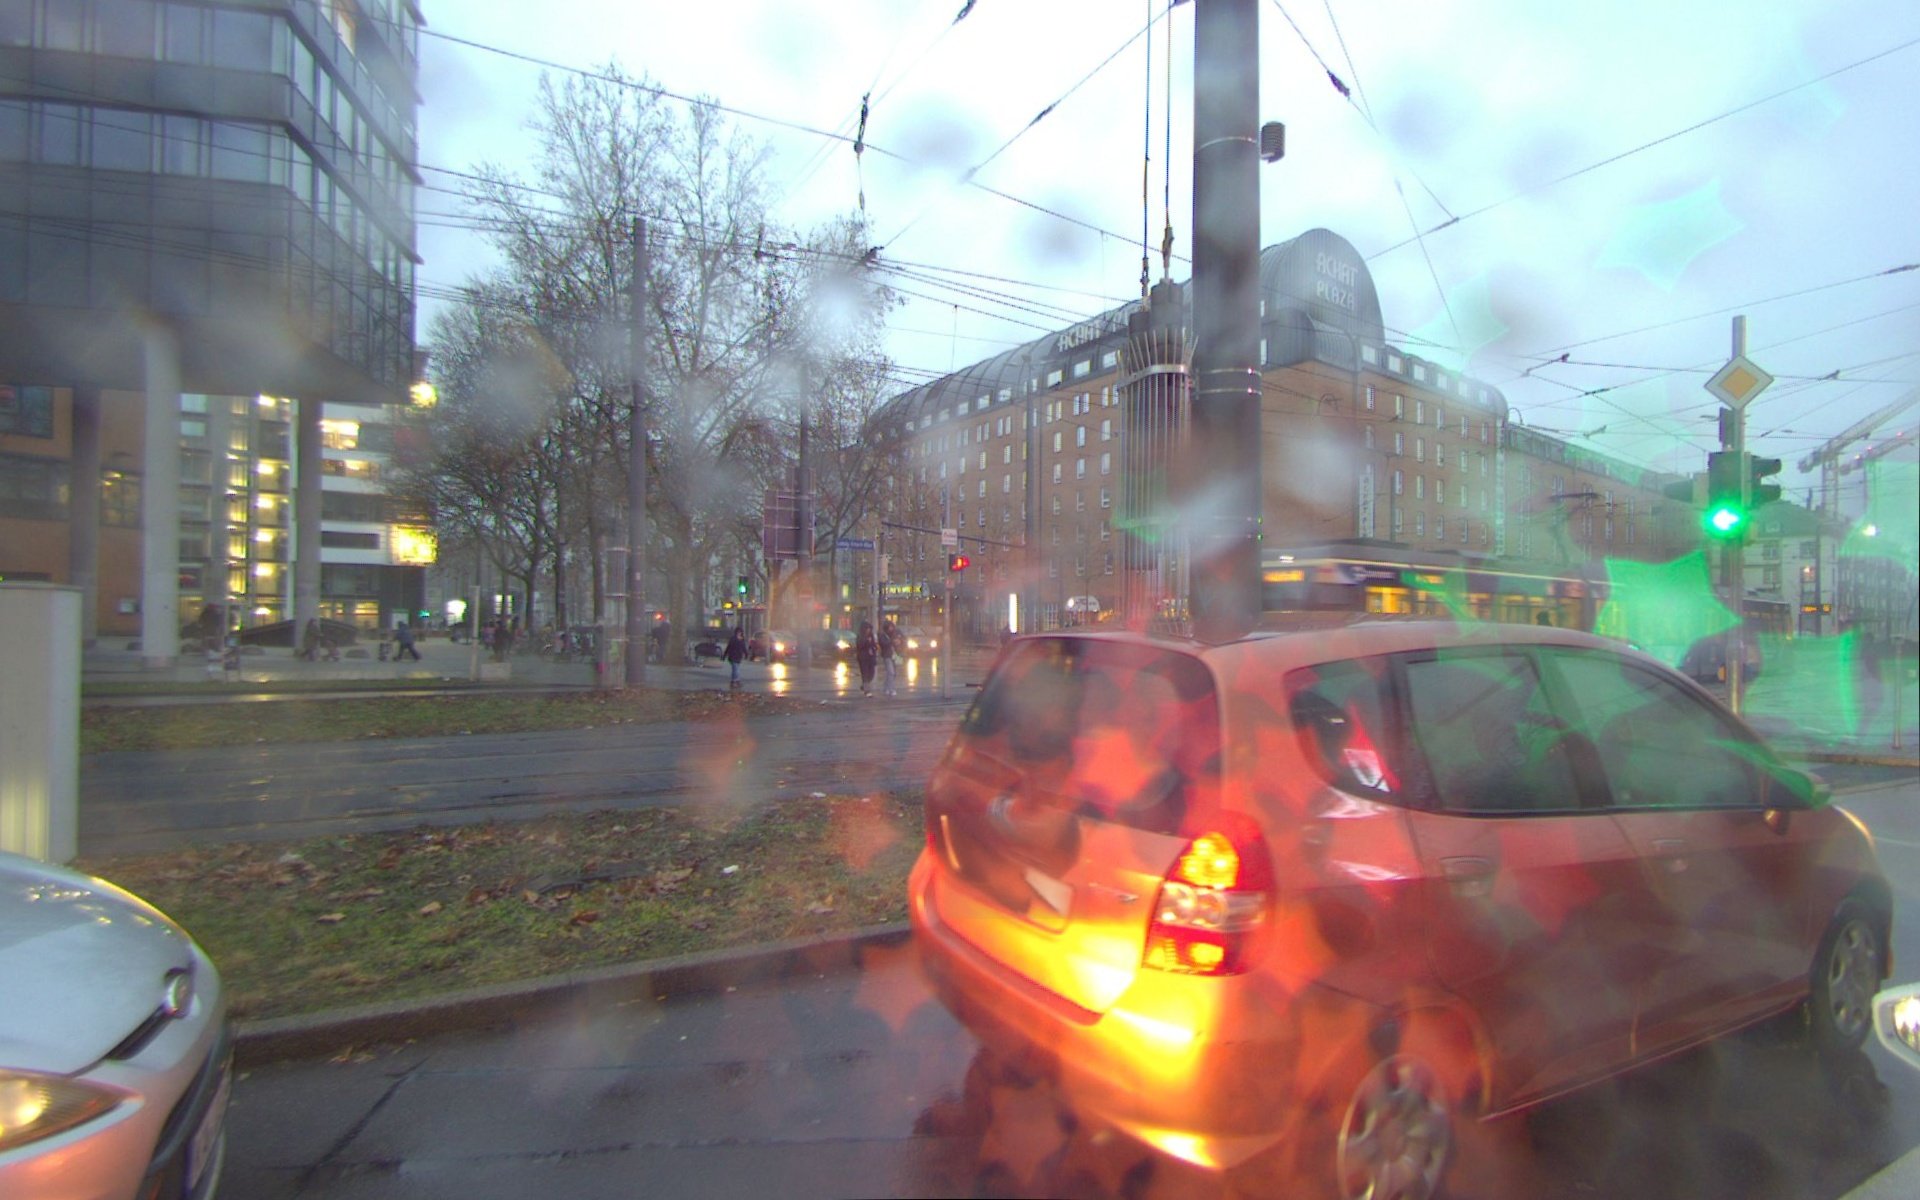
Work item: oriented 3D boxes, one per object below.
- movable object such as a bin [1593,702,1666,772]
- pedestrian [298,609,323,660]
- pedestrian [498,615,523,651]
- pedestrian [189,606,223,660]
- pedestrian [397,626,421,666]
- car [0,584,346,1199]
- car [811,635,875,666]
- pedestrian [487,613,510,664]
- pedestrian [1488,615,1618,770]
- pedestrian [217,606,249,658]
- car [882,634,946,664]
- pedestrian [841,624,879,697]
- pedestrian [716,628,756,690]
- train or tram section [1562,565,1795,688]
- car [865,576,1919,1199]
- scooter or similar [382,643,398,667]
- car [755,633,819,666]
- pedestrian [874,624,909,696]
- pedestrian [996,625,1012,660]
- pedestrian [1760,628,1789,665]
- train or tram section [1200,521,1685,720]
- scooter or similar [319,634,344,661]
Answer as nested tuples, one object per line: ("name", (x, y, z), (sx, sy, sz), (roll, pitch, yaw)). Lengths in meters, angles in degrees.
("movable object such as a bin", (7.270, 1.481, 10.919), (0.527, 0.708, 0.413), (0, -3, 11))
("pedestrian", (-23.029, 1.227, 35.611), (0.628, 1.797, 0.569), (1, -2, -24))
("pedestrian", (-22.367, 1.640, 49.968), (0.720, 1.783, 0.820), (0, -2, 19))
("pedestrian", (-26.818, 1.162, 35.730), (0.561, 1.888, 0.736), (0, -2, 6))
("pedestrian", (-20.584, 1.734, 37.537), (0.675, 1.478, 0.569), (1, -2, -24))
("car", (-3.129, 0.666, 1.204), (3.951, 1.467, 1.698), (2, 0, -29))
("car", (-5.915, 2.500, 50.544), (1.974, 1.446, 3.974), (1, -1, -26))
("pedestrian", (-17.260, 1.446, 37.544), (0.725, 1.888, 0.569), (1, -2, -24))
("pedestrian", (6.489, 0.998, 11.052), (1.016, 1.621, 0.716), (-1, -3, 12))
("pedestrian", (-26.679, 1.168, 36.866), (0.561, 1.888, 0.736), (0, -2, 5))
("car", (-2.464, 2.563, 52.778), (1.974, 1.446, 3.974), (1, -1, -26))
("pedestrian", (-2.139, 1.294, 21.532), (0.638, 1.532, 0.558), (1, -1, -29))
("pedestrian", (-5.648, 1.478, 25.280), (0.733, 1.519, 0.668), (2, -2, -45))
("train or tram section", (27.318, 1.074, 37.348), (19.065, 3.662, 2.839), (2, -2, -41))
("car", (1.705, 0.755, 3.533), (3.713, 1.478, 1.690), (1, -2, -30))
("scooter or similar", (-21.142, 2.030, 37.278), (0.426, 0.861, 0.550), (1, -2, -24))
("car", (-8.312, 2.325, 47.897), (1.974, 1.446, 3.974), (1, -1, -26))
("pedestrian", (-1.495, 1.301, 21.848), (0.606, 1.532, 0.518), (1, -1, -28))
("pedestrian", (2.282, 2.213, 52.052), (0.622, 1.781, 0.566), (0, -2, 33))
("pedestrian", (46.113, 2.633, 56.844), (0.820, 2.040, 0.980), (1, -1, -15))
("train or tram section", (13.613, 0.659, 25.835), (19.894, 3.662, 2.843), (2, -2, -38))
("scooter or similar", (-22.436, 1.695, 35.869), (0.657, 0.973, 0.550), (1, -2, -24))
